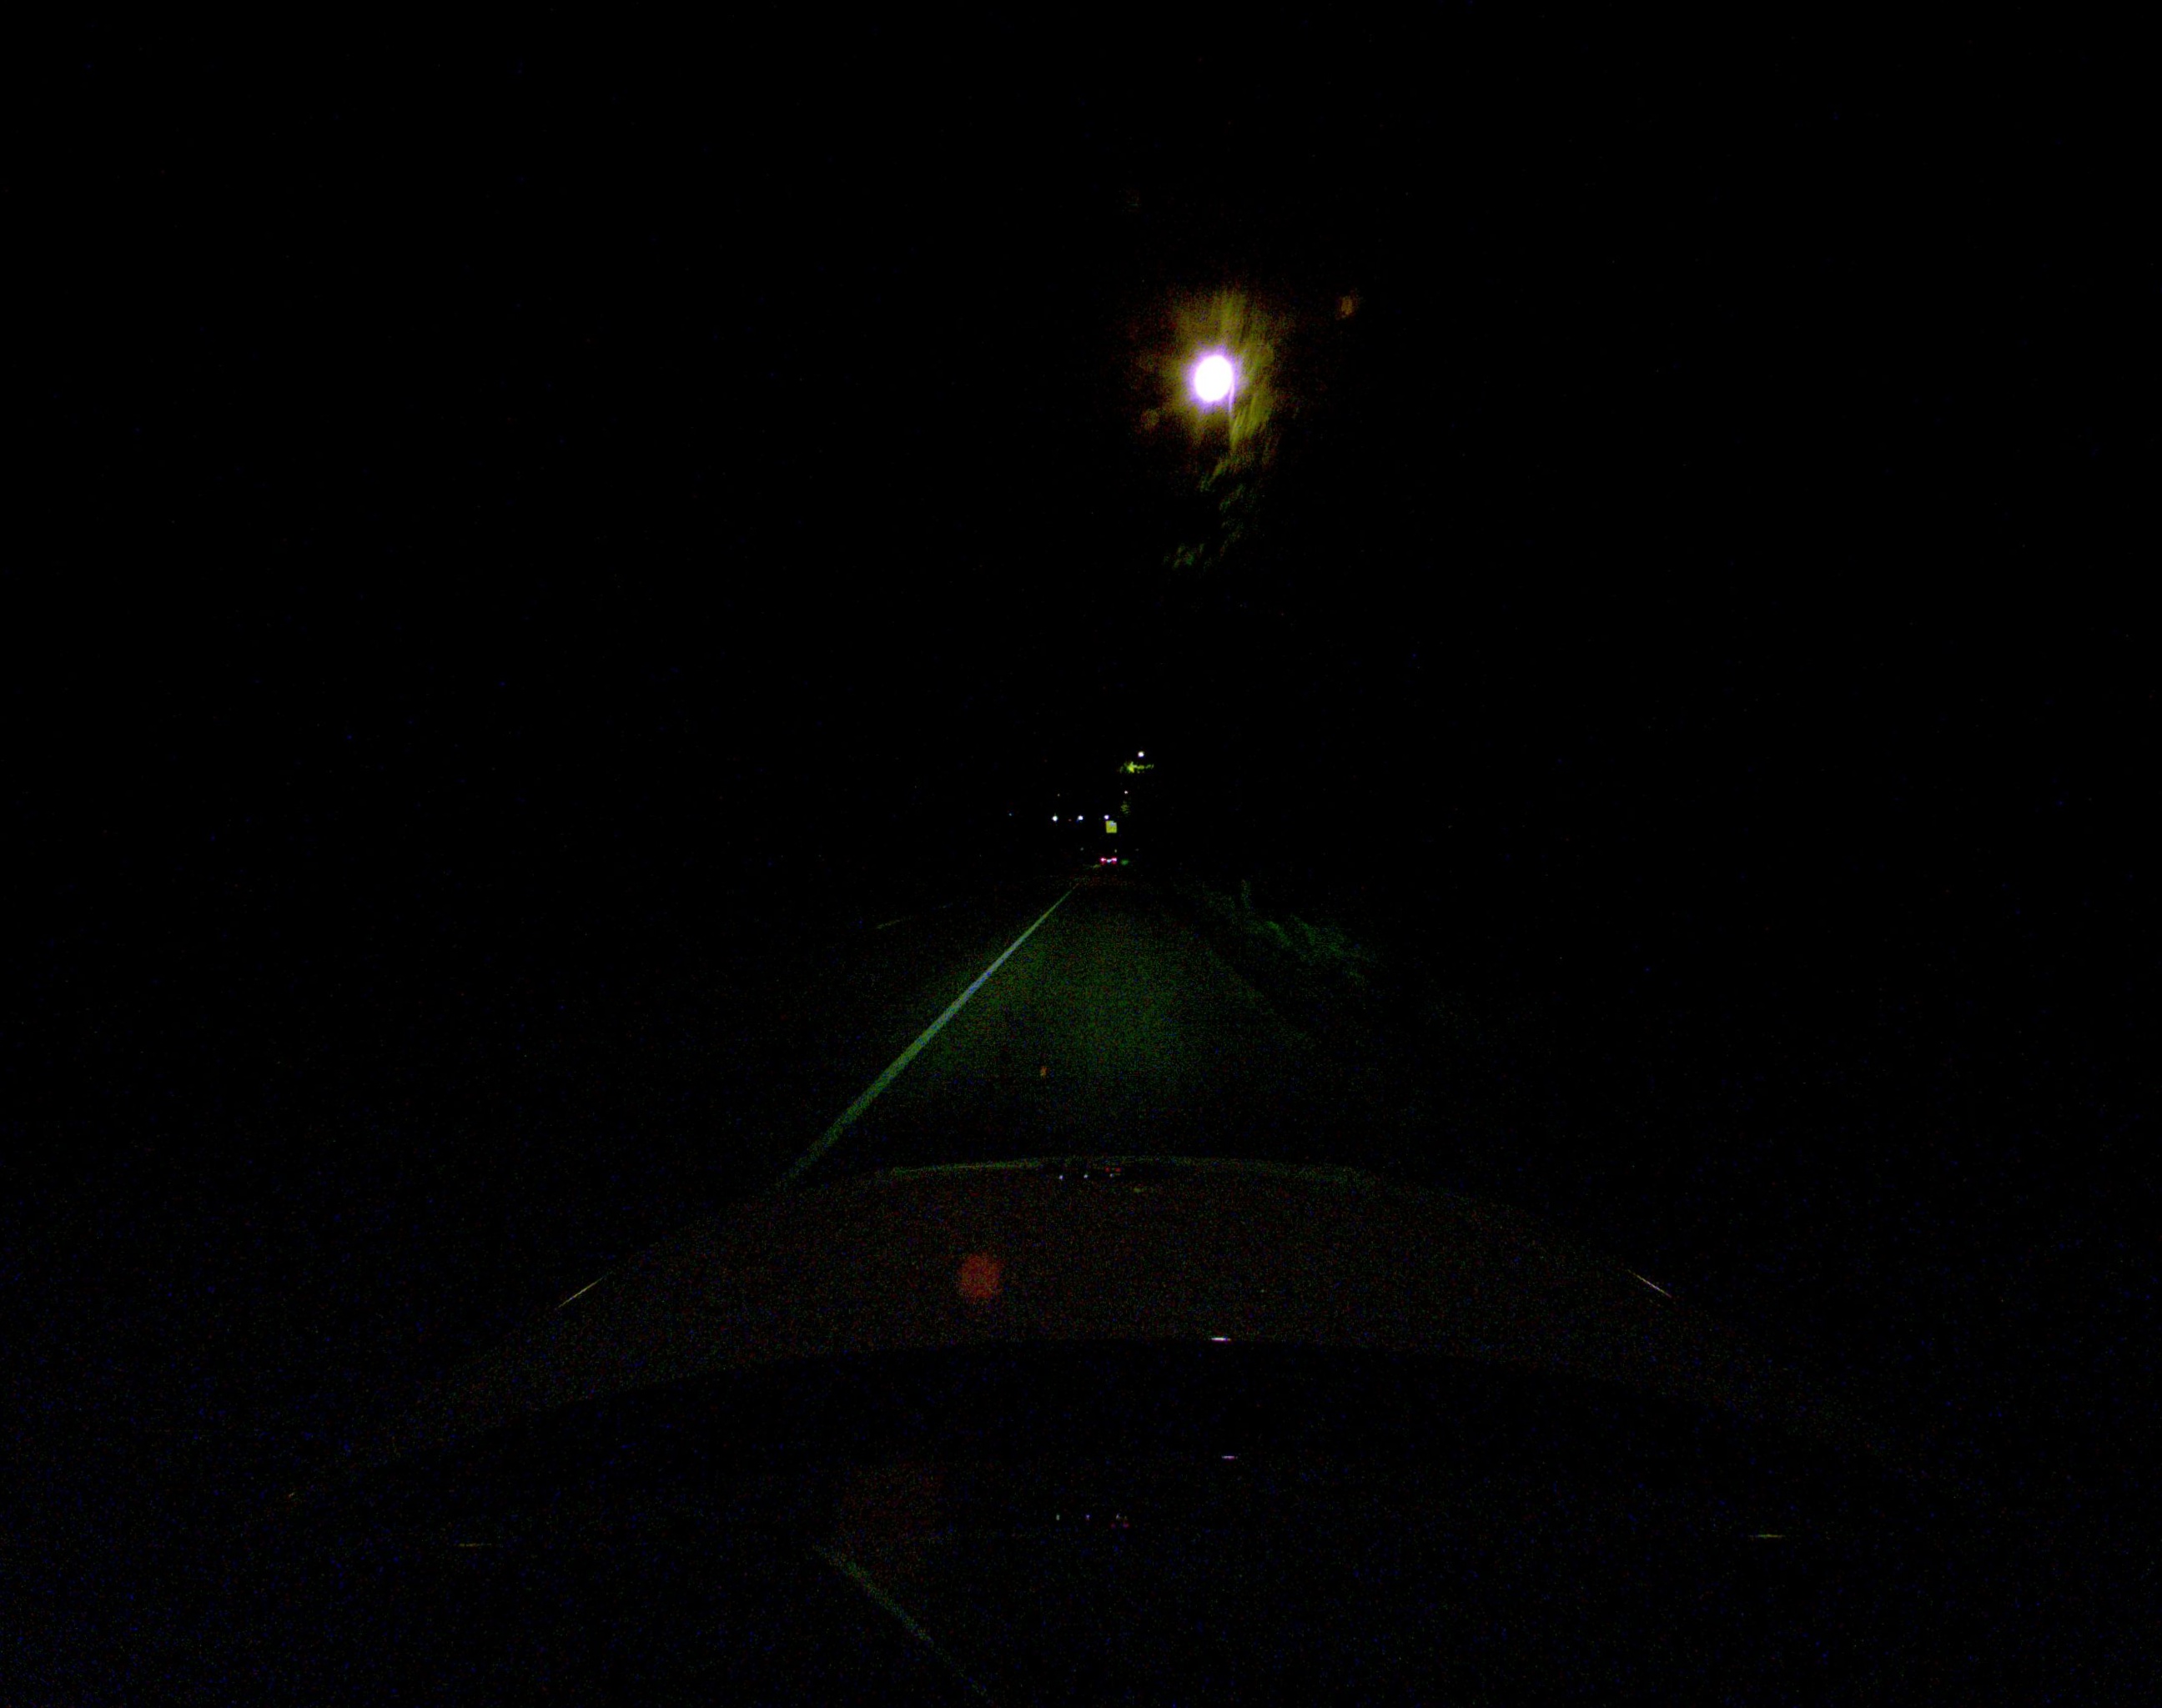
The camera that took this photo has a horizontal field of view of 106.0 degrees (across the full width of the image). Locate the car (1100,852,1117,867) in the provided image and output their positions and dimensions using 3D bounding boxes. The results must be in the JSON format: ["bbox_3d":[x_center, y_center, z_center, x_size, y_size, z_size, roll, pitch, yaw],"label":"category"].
[{"bbox_3d":[3.256,0.638,95.954,1.755,1.641,3.728,-1,1,4],"label":"car"}]
